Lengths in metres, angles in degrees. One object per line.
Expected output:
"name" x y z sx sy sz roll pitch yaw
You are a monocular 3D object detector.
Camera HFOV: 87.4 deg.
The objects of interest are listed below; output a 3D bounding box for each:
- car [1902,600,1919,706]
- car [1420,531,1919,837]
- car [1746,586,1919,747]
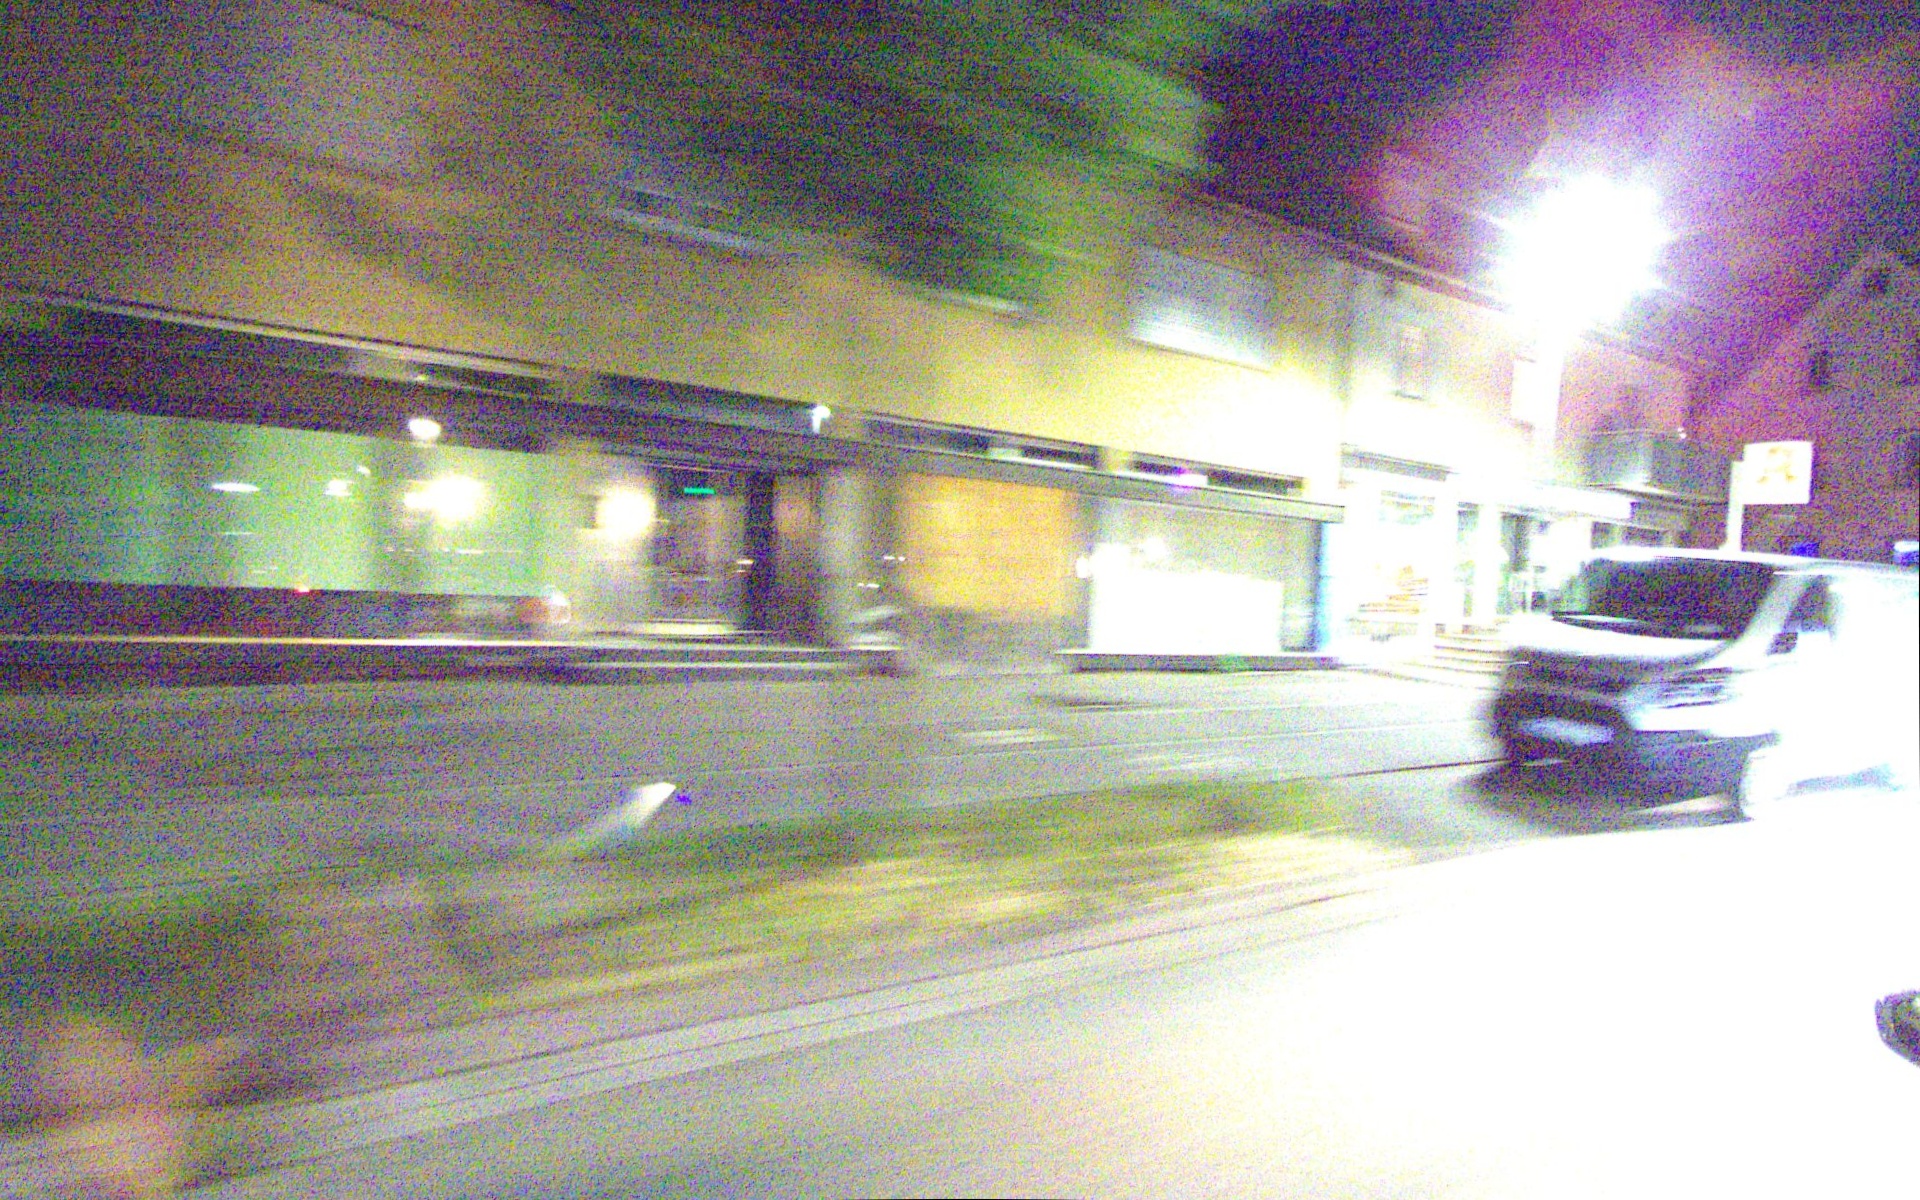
"car" 16.630 0.870 15.404 4.428 1.569 2.103 1 3 -33
"car" 6.472 0.532 8.747 4.834 1.973 2.103 1 4 -33
"car" 11.975 0.765 12.531 4.124 1.693 2.104 1 3 -33
